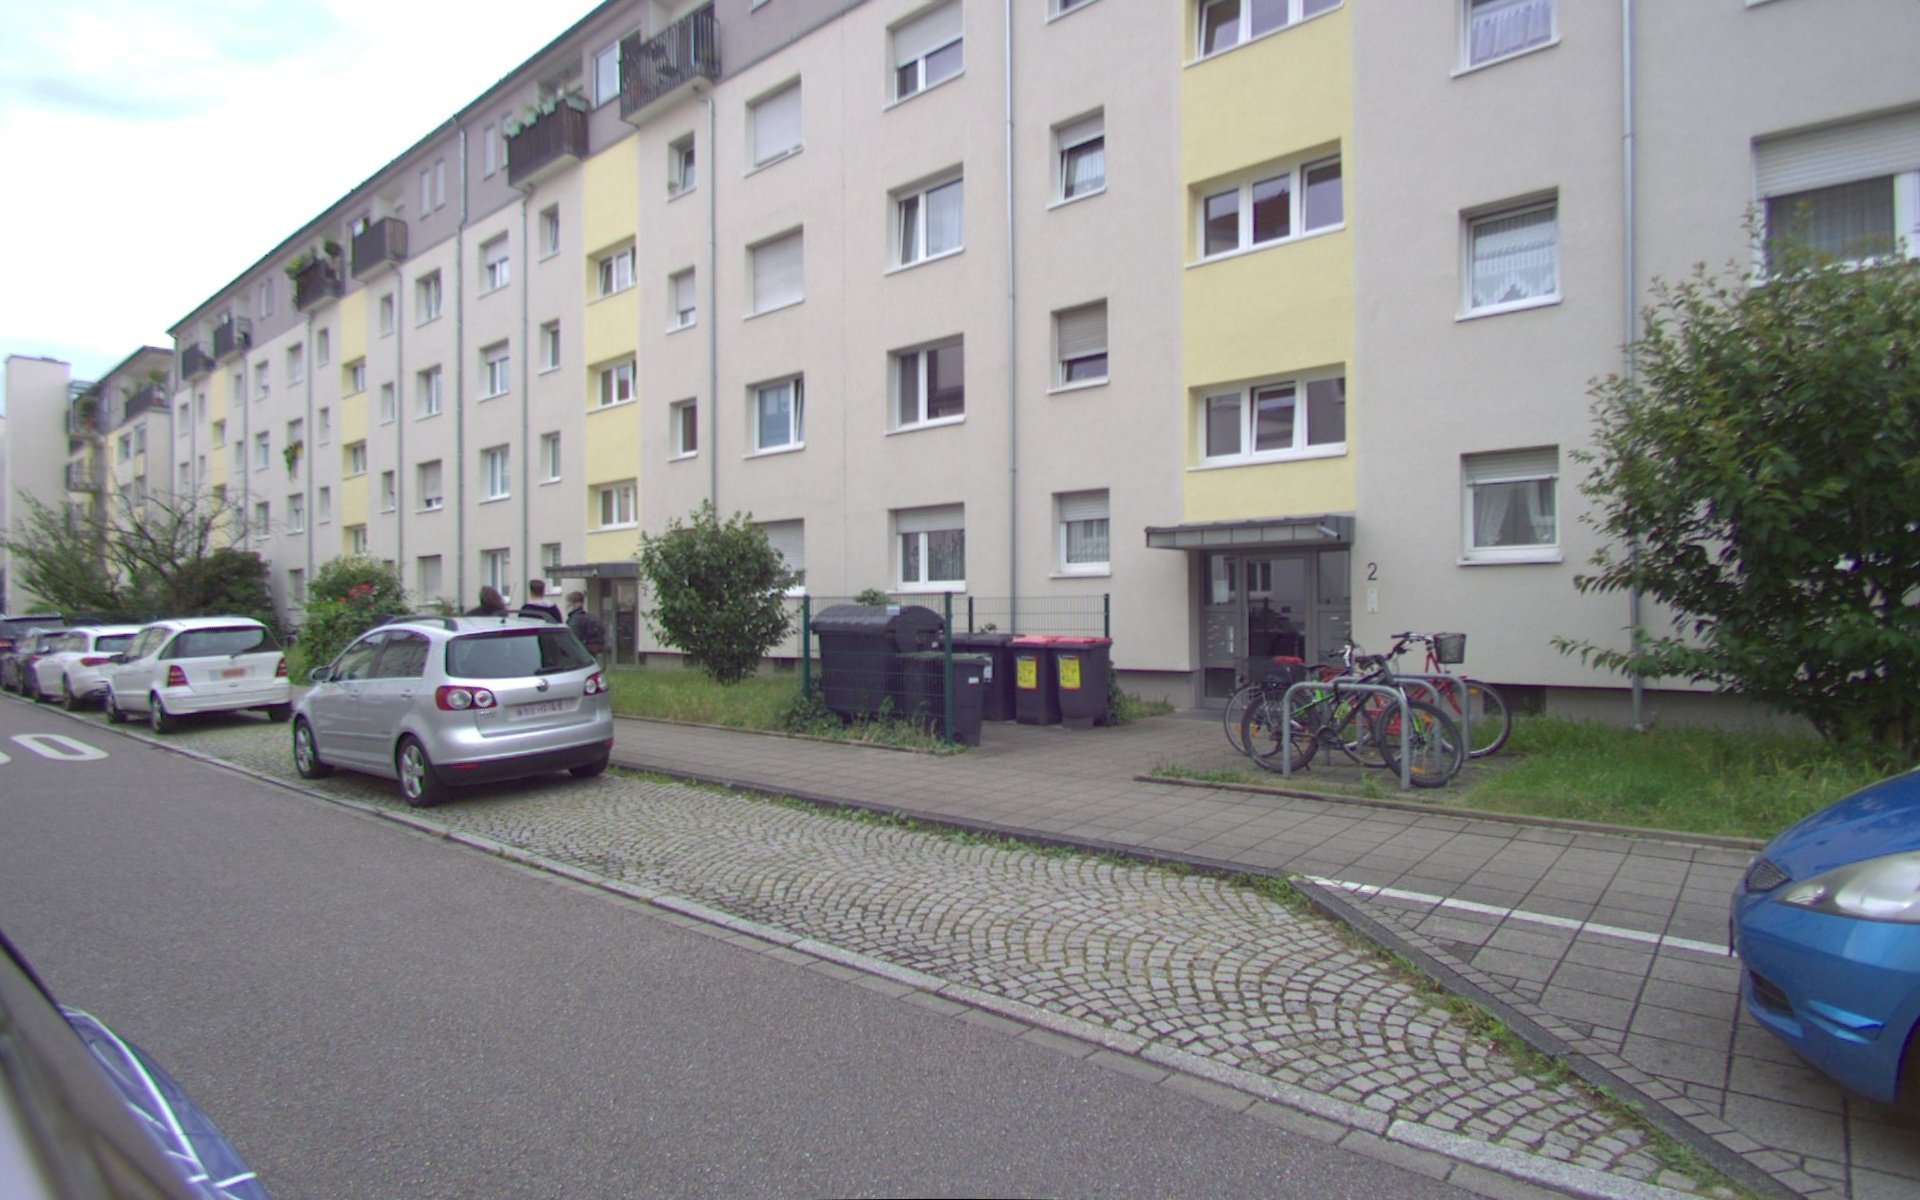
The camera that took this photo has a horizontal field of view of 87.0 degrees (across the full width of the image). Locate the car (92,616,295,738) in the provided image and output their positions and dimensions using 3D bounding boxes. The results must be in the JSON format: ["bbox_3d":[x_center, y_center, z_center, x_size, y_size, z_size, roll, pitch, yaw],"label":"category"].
[{"bbox_3d":[-11.862,1.092,15.591,3.723,1.651,1.668,-2,-2,39],"label":"car"}]

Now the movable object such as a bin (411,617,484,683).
[{"bbox_3d":[-11.534,1.102,22.784,1.187,1.385,1.047,0,0,35],"label":"movable object such as a bin"}]

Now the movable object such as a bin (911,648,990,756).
[{"bbox_3d":[-0.098,1.022,10.324,0.597,1.041,0.531,-2,-2,39],"label":"movable object such as a bin"}]

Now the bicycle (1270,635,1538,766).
[{"bbox_3d":[4.068,0.876,9.416,2.174,1.079,0.651,-2,-2,41],"label":"bicycle"}]

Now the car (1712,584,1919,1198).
[{"bbox_3d":[4.103,0.673,2.109,3.954,1.473,1.713,-2,1,40],"label":"car"}]

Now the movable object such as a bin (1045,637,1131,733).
[{"bbox_3d":[1.504,0.970,11.847,0.633,1.059,0.855,-2,-2,39],"label":"movable object such as a bin"}]

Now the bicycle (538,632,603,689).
[{"bbox_3d":[-7.485,1.145,19.420,1.556,1.032,0.416,-2,-2,37],"label":"bicycle"}]

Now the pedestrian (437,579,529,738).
[{"bbox_3d":[-5.918,0.701,12.552,0.973,1.877,0.633,-2,0,40],"label":"pedestrian"}]

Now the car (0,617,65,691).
[{"bbox_3d":[-24.774,1.388,26.339,4.447,1.793,1.555,-2,-2,40],"label":"car"}]

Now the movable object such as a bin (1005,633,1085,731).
[{"bbox_3d":[1.036,0.972,12.308,0.597,1.125,0.834,-2,-2,38],"label":"movable object such as a bin"}]

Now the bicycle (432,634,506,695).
[{"bbox_3d":[-8.824,1.136,18.143,1.877,1.032,0.483,-2,-2,41],"label":"bicycle"}]

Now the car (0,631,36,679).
[{"bbox_3d":[-29.742,1.673,31.000,3.537,1.408,1.556,-2,-2,38],"label":"car"}]

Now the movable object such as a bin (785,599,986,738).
[{"bbox_3d":[-0.847,0.726,11.586,1.669,1.432,1.573,-2,-1,39],"label":"movable object such as a bin"}]

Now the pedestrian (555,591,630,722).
[{"bbox_3d":[-4.848,0.728,13.346,0.802,1.669,0.608,-2,-2,40],"label":"pedestrian"}]

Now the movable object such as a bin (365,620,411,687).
[{"bbox_3d":[-12.063,1.111,21.346,0.586,1.378,0.651,0,0,36],"label":"movable object such as a bin"}]

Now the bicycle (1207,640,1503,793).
[{"bbox_3d":[3.118,0.870,8.166,2.121,1.076,0.650,-2,-2,41],"label":"bicycle"}]

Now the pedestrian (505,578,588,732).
[{"bbox_3d":[-5.218,0.680,12.786,0.762,1.868,0.699,-2,-2,40],"label":"pedestrian"}]

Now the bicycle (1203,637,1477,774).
[{"bbox_3d":[3.312,0.876,8.998,2.174,1.079,0.651,-2,-2,41],"label":"bicycle"}]

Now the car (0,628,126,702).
[{"bbox_3d":[-20.194,1.356,22.423,4.476,1.464,1.709,-1,-1,38],"label":"car"}]

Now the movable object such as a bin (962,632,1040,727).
[{"bbox_3d":[0.518,0.973,12.723,0.597,1.125,0.834,-2,-2,38],"label":"movable object such as a bin"}]

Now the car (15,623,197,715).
[{"bbox_3d":[-16.205,1.249,19.122,4.680,1.521,1.702,-2,-2,38],"label":"car"}]

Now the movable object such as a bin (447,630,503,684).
[{"bbox_3d":[-10.635,1.233,22.193,0.786,1.117,0.861,0,0,36],"label":"movable object such as a bin"}]

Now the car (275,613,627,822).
[{"bbox_3d":[-5.022,0.967,9.757,3.913,1.562,1.637,-2,0,41],"label":"car"}]
